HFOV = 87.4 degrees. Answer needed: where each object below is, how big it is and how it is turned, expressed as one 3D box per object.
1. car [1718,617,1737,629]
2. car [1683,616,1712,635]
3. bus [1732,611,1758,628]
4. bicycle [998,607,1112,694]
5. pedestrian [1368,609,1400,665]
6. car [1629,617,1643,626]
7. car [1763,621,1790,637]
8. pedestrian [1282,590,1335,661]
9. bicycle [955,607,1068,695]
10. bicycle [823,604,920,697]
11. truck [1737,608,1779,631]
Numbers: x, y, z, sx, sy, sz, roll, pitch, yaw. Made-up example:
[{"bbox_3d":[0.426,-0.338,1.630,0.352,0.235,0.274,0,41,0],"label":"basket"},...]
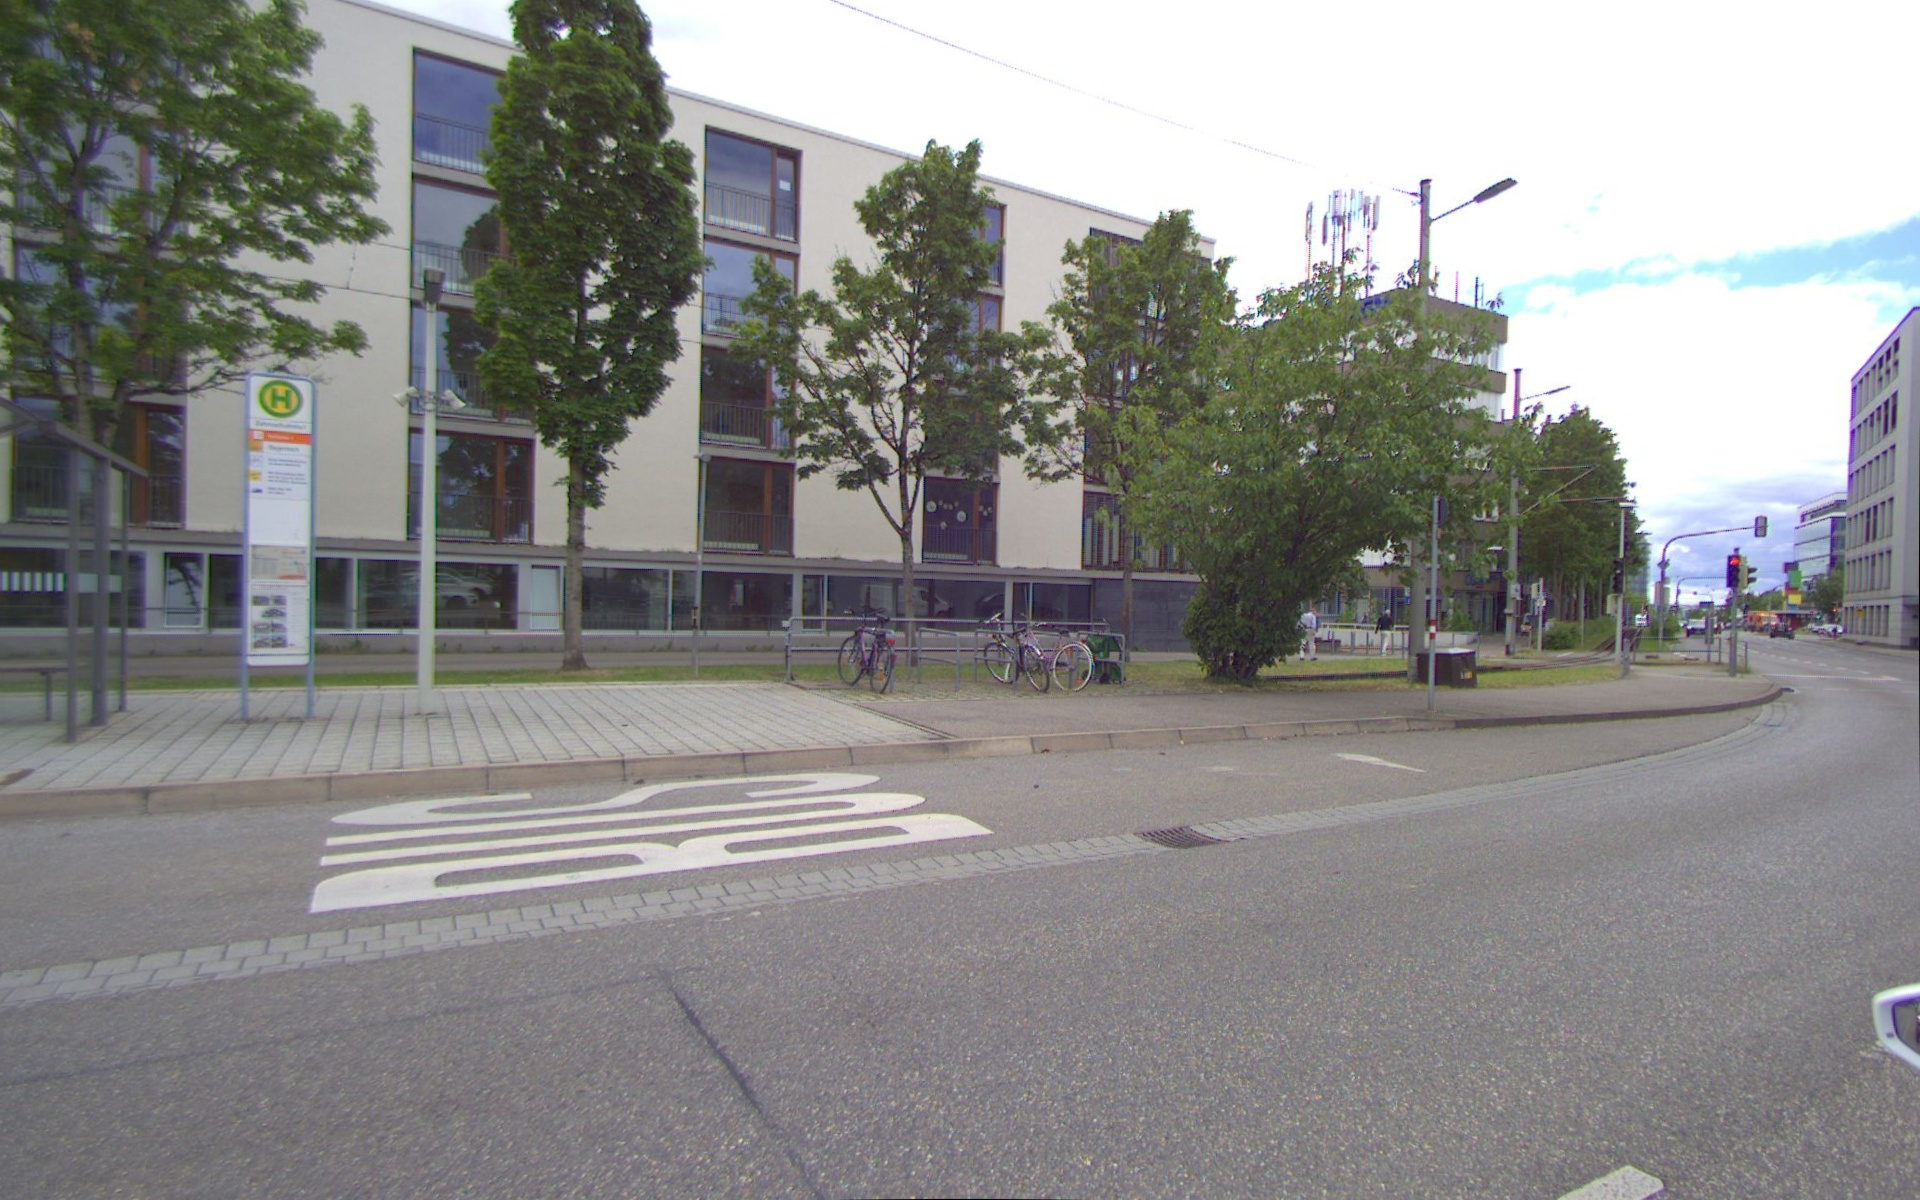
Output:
[{"bbox_3d":[130.667,3.876,171.054,1.886,1.748,4.163,3,2,28],"label":"car"},{"bbox_3d":[67.467,2.314,91.965,1.825,1.718,3.990,1,0,32],"label":"car"},{"bbox_3d":[148.604,3.643,190.168,3.041,2.968,10.310,3,2,34],"label":"bus"},{"bbox_3d":[1.377,0.712,15.003,0.624,1.121,2.090,1,1,-28],"label":"bicycle"},{"bbox_3d":[16.191,1.399,38.365,0.758,2.041,0.885,5,3,41],"label":"pedestrian"},{"bbox_3d":[137.286,4.342,203.909,1.886,1.748,4.163,3,2,28],"label":"car"},{"bbox_3d":[81.430,2.857,100.119,1.878,1.506,3.979,1,0,42],"label":"car"},{"bbox_3d":[10.488,0.756,30.223,0.903,2.041,1.048,2,3,-29],"label":"pedestrian"},{"bbox_3d":[0.708,0.710,14.736,0.624,1.121,2.089,1,1,-29],"label":"bicycle"},{"bbox_3d":[-1.251,0.653,13.733,0.580,1.121,1.920,1,1,-29],"label":"bicycle"},{"bbox_3d":[103.686,2.491,130.665,2.532,2.863,6.985,1,0,24],"label":"truck"}]
